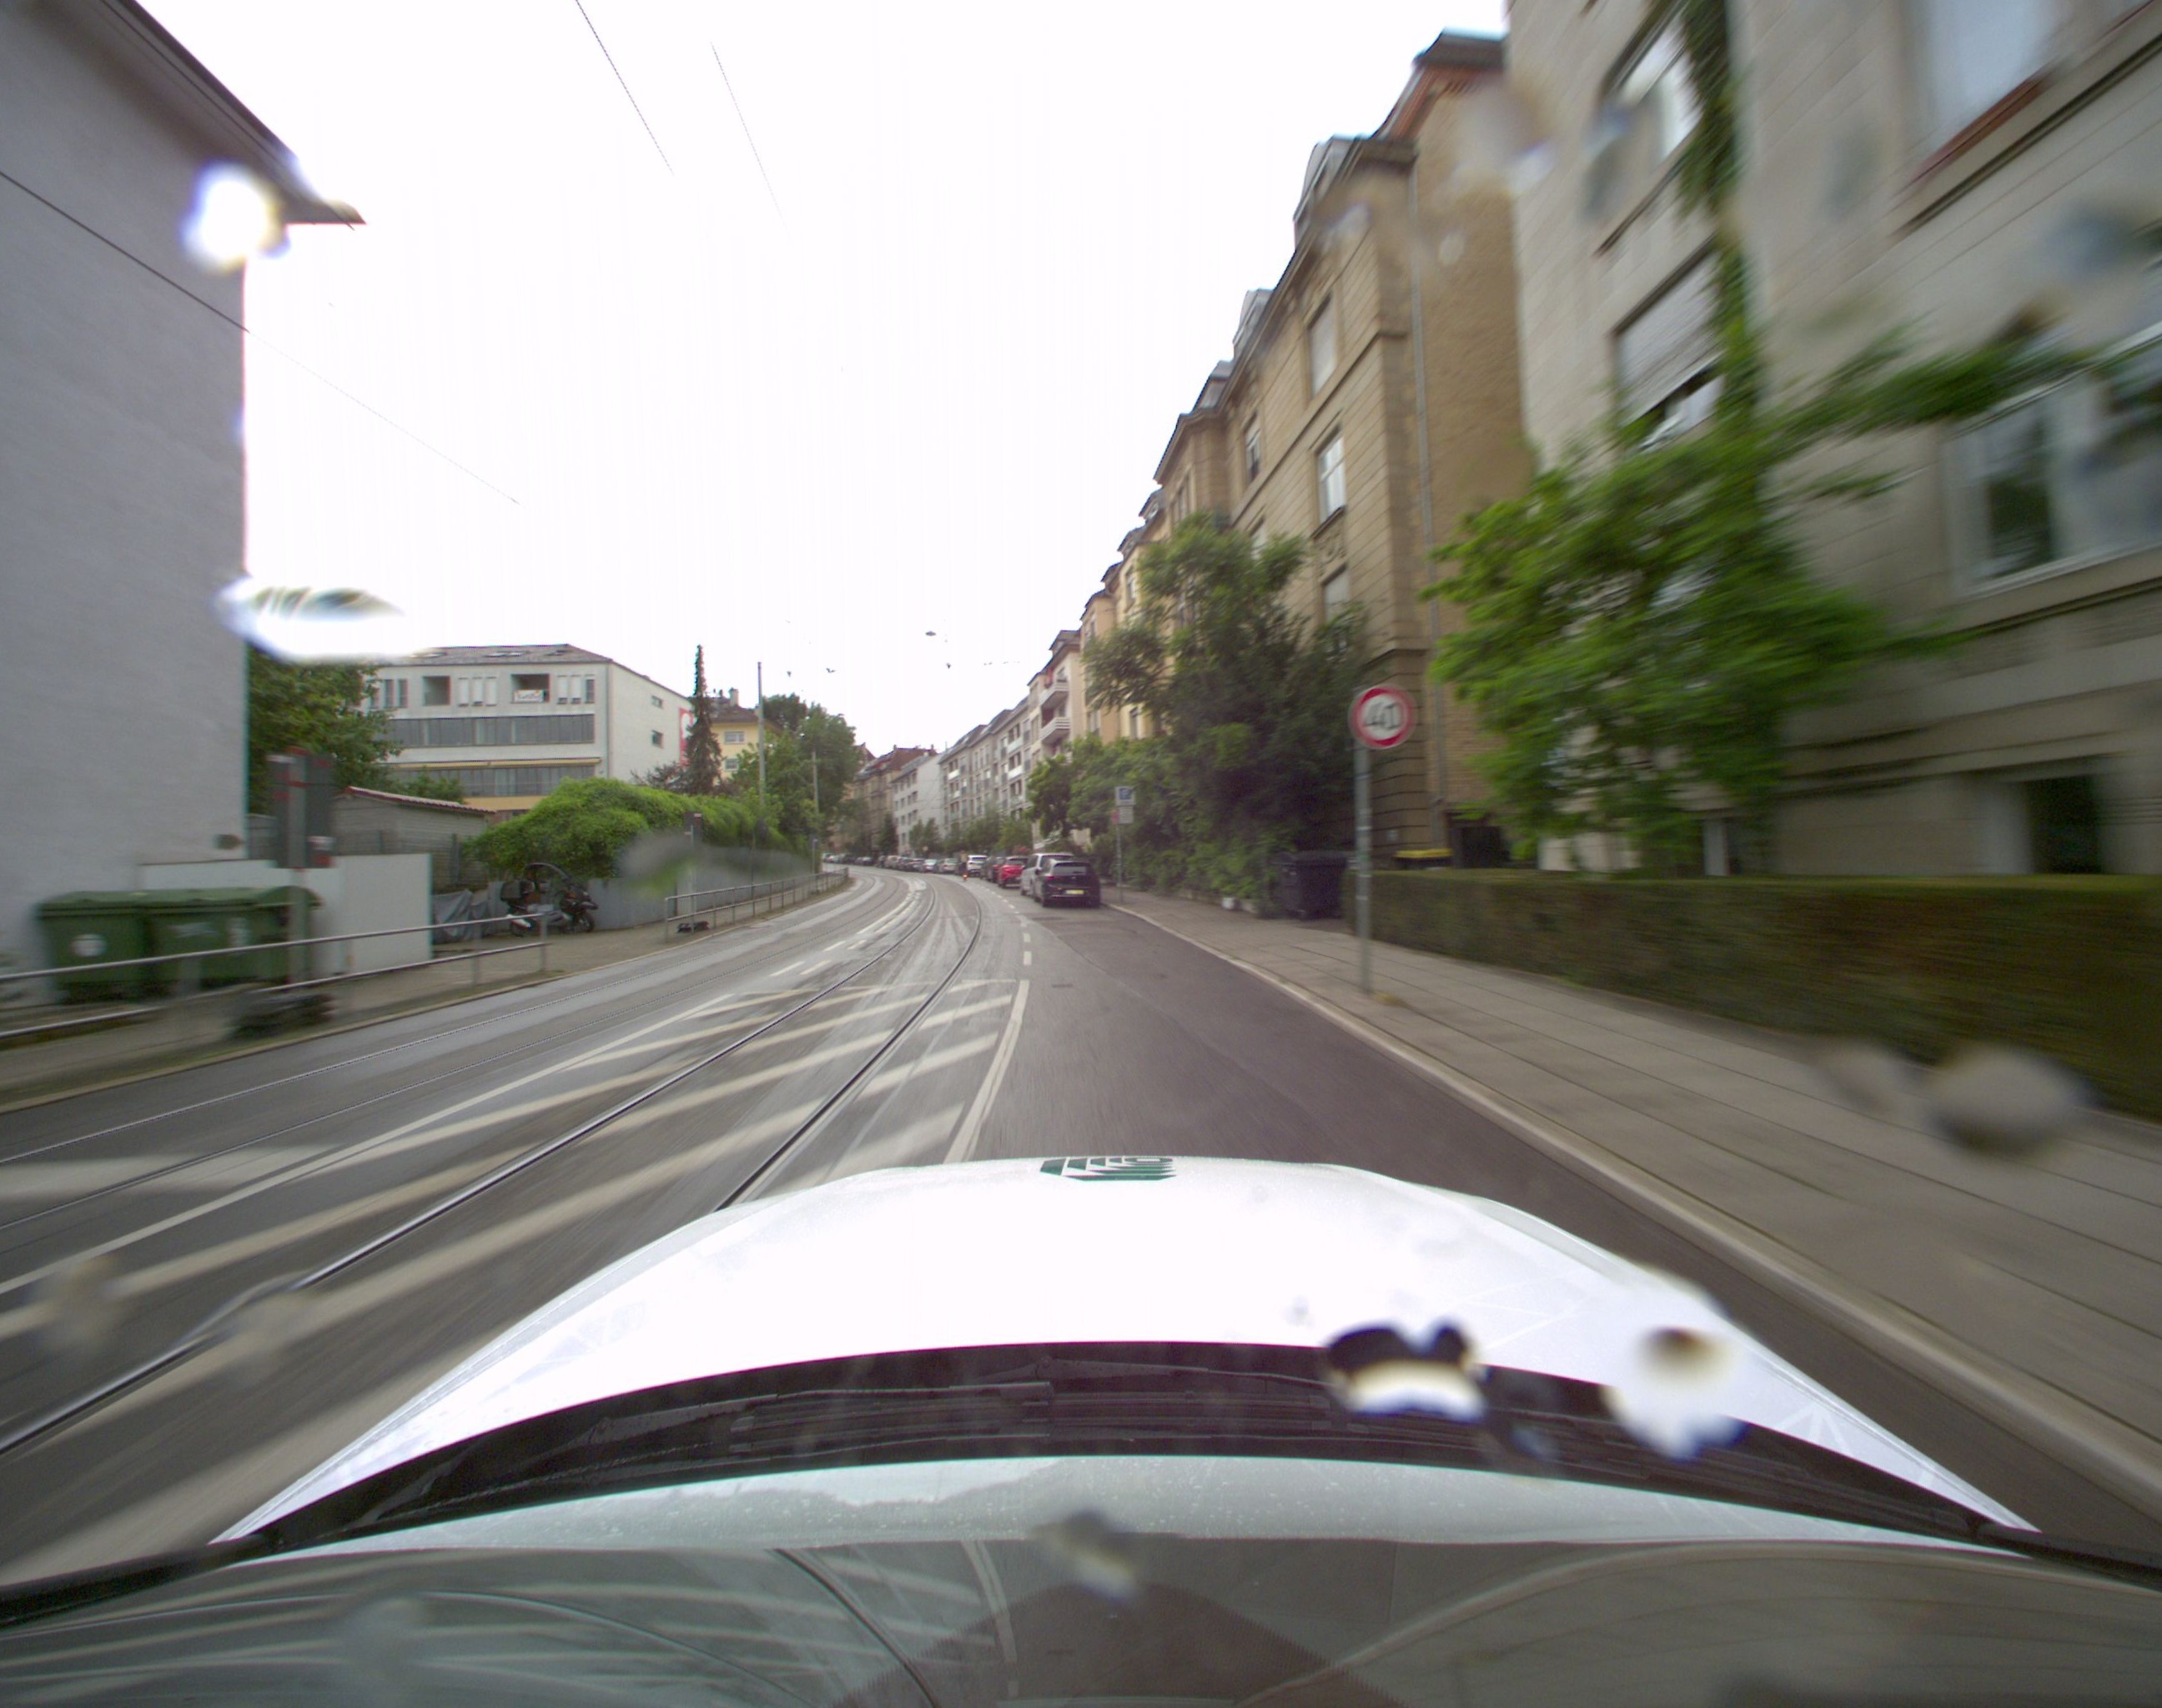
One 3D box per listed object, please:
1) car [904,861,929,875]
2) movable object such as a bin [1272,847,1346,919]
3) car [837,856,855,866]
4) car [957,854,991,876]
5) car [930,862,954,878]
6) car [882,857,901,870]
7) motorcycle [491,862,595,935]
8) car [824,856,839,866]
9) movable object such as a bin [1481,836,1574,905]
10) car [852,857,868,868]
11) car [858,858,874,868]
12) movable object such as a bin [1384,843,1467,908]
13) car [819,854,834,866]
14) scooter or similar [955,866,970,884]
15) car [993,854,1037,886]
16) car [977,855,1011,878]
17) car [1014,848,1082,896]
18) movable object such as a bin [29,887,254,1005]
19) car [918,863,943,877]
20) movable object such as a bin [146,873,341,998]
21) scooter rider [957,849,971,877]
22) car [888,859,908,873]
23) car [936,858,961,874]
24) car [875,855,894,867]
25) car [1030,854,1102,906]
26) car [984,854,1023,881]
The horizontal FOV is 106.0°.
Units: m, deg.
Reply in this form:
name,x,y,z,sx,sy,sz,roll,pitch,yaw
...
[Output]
name,x,y,z,sx,sy,sz,roll,pitch,yaw
car,-19.568,1.621,96.530,1.777,1.615,4.209,-1,0,-28
movable object such as a bin,4.836,0.594,17.343,1.227,1.403,0.818,-3,2,-16
car,-41.067,1.190,142.080,2.040,1.824,4.327,1,0,-29
car,-7.996,0.799,60.554,1.841,1.573,4.224,1,-1,-17
car,-13.730,1.559,80.460,1.707,1.512,3.689,1,0,-20
car,-26.233,1.287,112.627,1.776,1.684,4.212,1,0,-26
motorcycle,-12.892,1.047,19.546,1.920,1.600,0.595,-3,1,-7
car,-46.566,1.349,151.938,2.038,1.824,4.104,1,0,-26
movable object such as a bin,9.996,0.367,18.290,1.230,1.425,1.304,-3,-1,-8
car,-36.353,1.387,133.780,1.659,1.536,3.855,-4,2,-27
car,-34.226,1.368,129.460,1.775,1.518,4.105,1,0,-25
movable object such as a bin,7.579,0.462,17.974,1.216,1.308,1.165,-3,-1,-8
car,-48.874,1.180,156.403,2.040,2.218,4.101,1,0,-29
scooter or similar,-7.296,1.291,50.217,0.515,1.049,1.995,2,-1,-20
car,-3.190,0.731,38.934,1.722,1.437,3.827,0,0,-10
car,-5.603,0.780,52.018,1.559,1.437,4.281,0,0,-15
car,-1.328,0.652,30.545,1.767,1.603,4.269,-2,0,-13
movable object such as a bin,-12.544,1.184,10.953,1.365,1.336,1.325,-3,1,-2
car,-16.160,1.713,87.312,1.769,1.435,4.605,-1,0,-22
movable object such as a bin,-11.212,1.045,10.986,1.182,1.461,1.289,-3,1,-2
scooter rider,-7.229,0.548,50.343,0.625,1.706,0.838,2,-1,-20
car,-24.125,1.603,107.119,1.774,1.787,4.215,1,0,-23
car,-12.396,1.129,76.189,1.666,1.472,4.480,0,-1,-18
car,-28.251,1.013,117.121,1.775,1.684,4.213,1,0,-25
car,-0.557,0.745,25.504,1.765,1.390,3.989,0,1,-9
car,-4.493,0.748,46.799,1.685,1.437,4.046,0,0,-13
